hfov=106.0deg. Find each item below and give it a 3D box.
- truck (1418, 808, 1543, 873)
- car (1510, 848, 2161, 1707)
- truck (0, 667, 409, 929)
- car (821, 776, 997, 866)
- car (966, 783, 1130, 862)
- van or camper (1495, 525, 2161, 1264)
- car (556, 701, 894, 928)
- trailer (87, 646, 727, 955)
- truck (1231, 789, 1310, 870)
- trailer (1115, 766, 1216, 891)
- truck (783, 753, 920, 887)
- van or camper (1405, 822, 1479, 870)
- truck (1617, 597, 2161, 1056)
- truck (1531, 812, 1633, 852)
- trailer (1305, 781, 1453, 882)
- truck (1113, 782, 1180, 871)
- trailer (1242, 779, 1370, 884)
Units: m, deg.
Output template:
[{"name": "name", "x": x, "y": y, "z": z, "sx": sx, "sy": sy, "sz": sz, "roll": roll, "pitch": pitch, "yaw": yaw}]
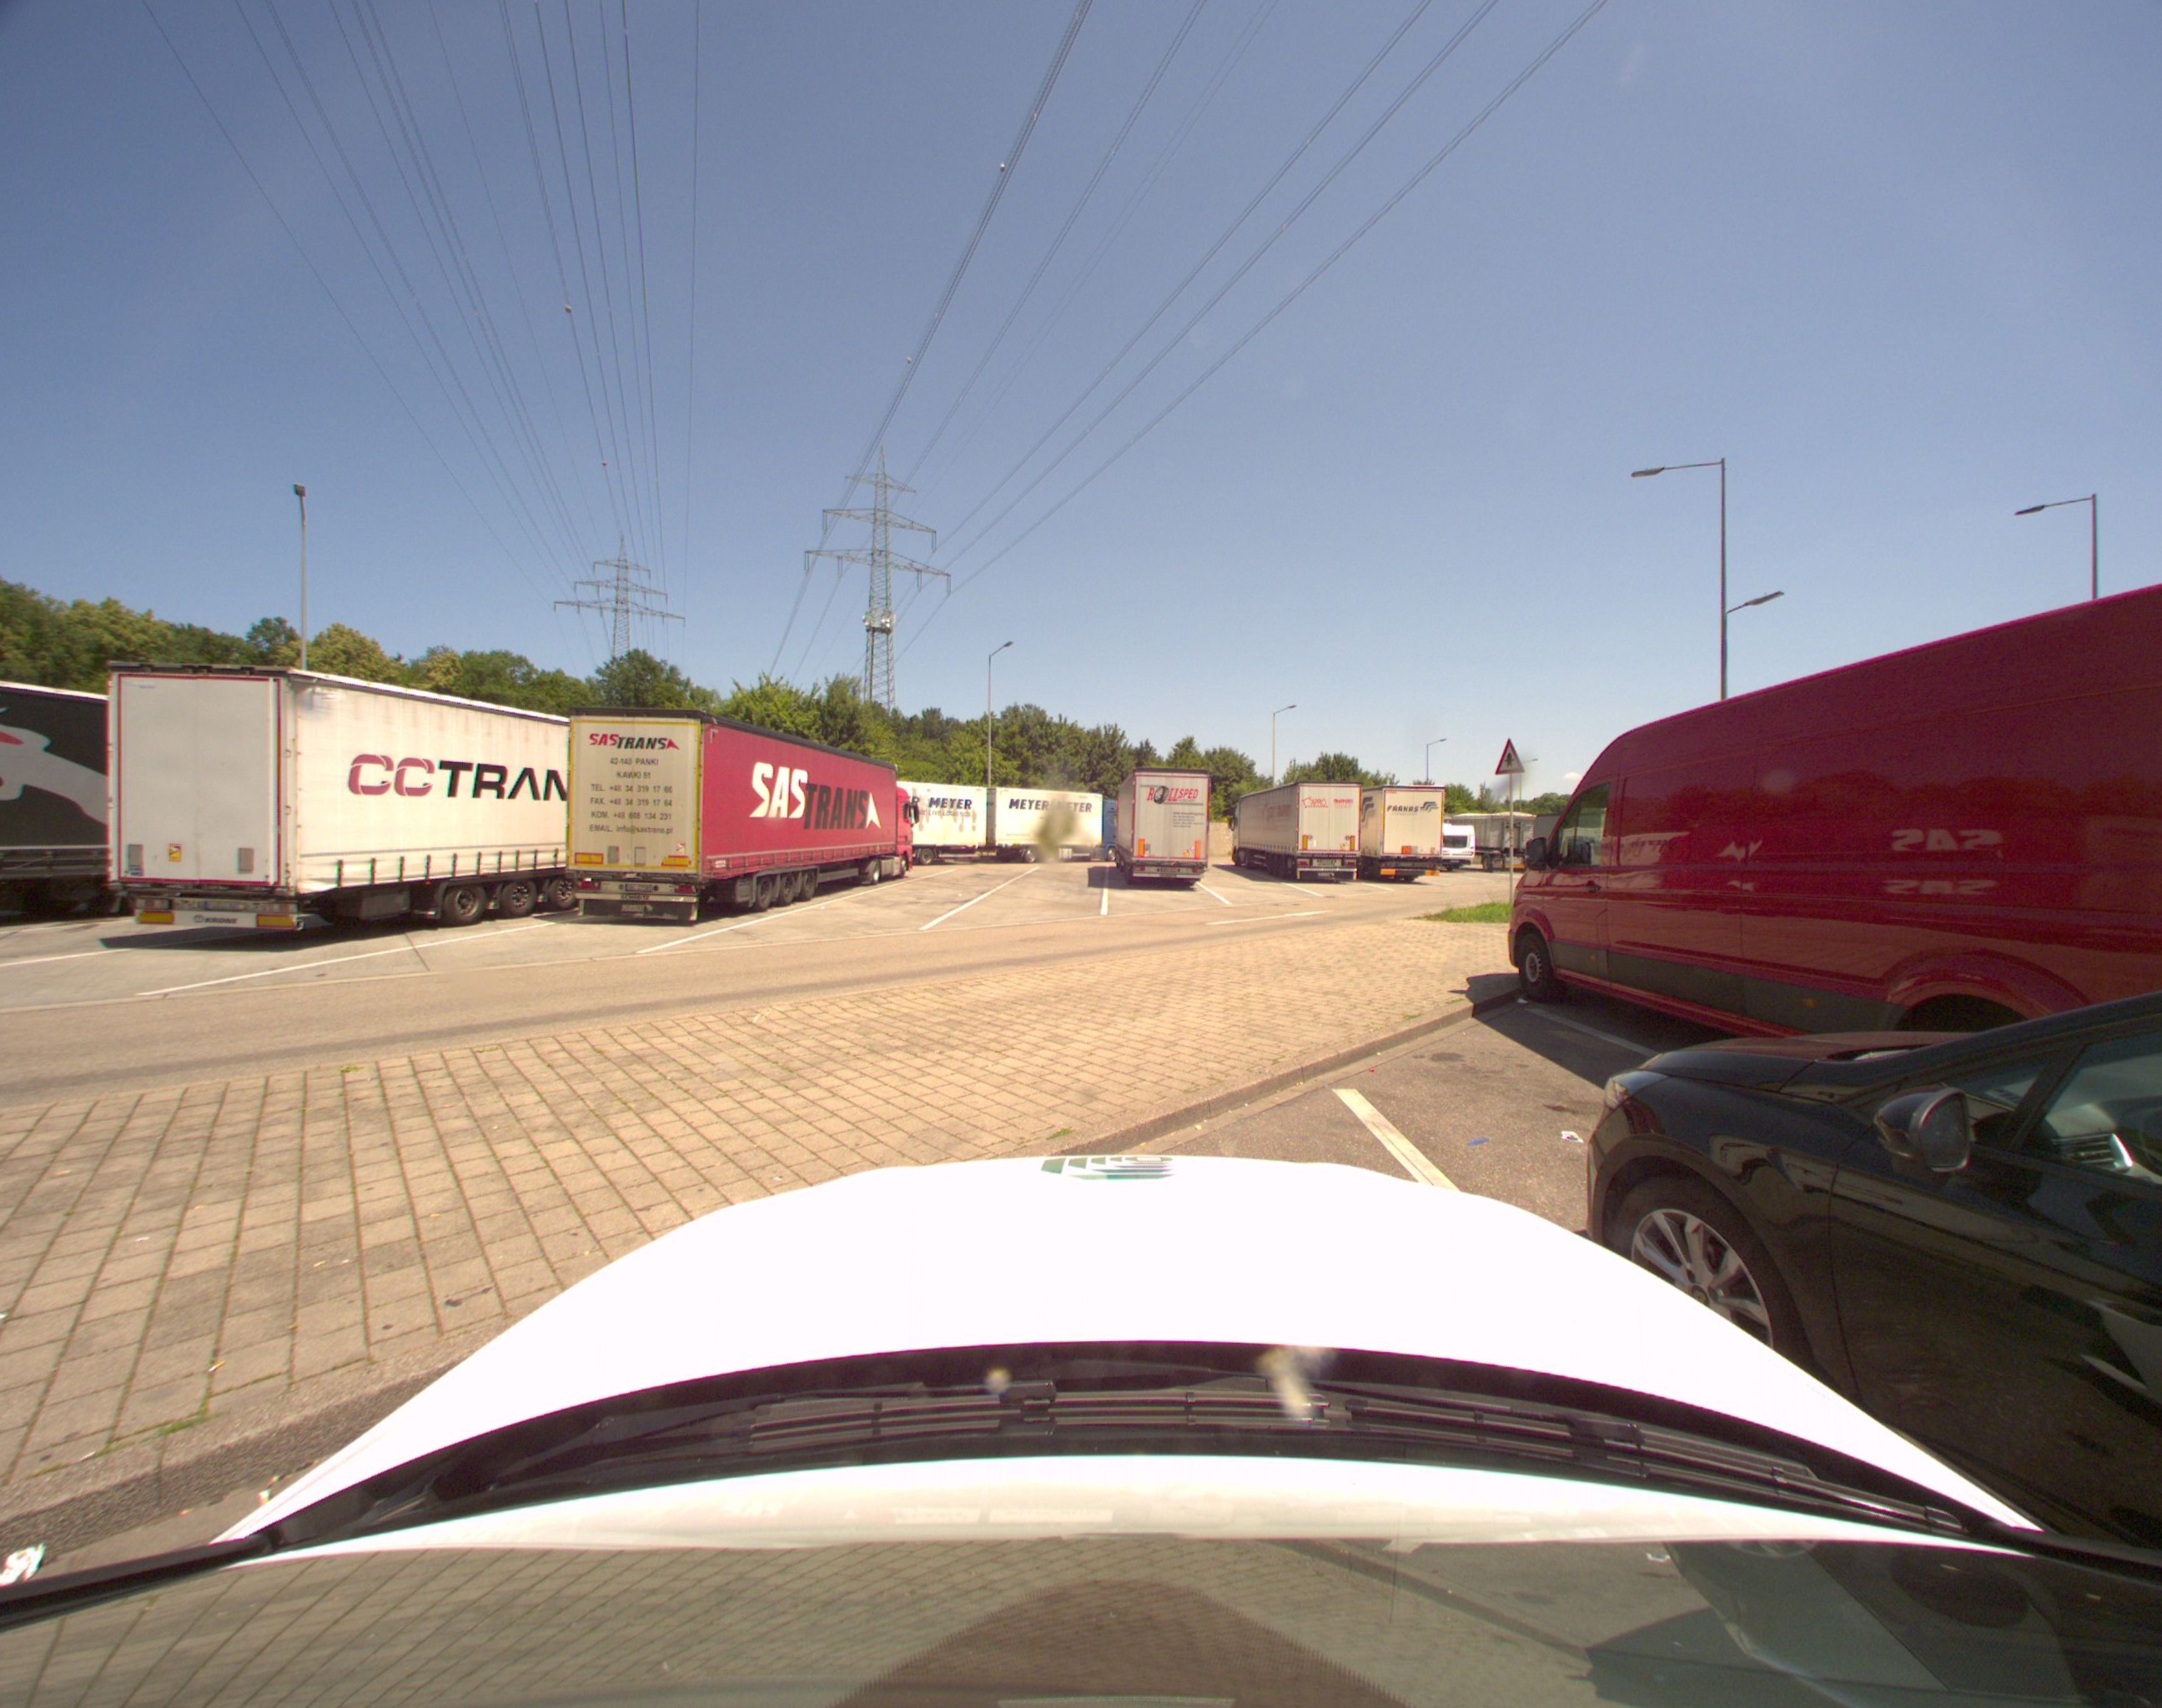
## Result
[{"name": "truck", "x": 24.320, "y": -0.956, "z": 50.480, "sx": 2.478, "sy": 3.568, "sz": 11.429, "roll": 1, "pitch": 2, "yaw": 2}, {"name": "car", "x": 2.466, "y": 0.756, "z": 1.124, "sx": 1.612, "sy": 1.483, "sz": 3.762, "roll": -1, "pitch": 1, "yaw": -4}, {"name": "truck", "x": -18.603, "y": -1.027, "z": 16.256, "sx": 2.803, "sy": 4.190, "sz": 8.793, "roll": 0, "pitch": 2, "yaw": 2}, {"name": "car", "x": -8.408, "y": -1.610, "z": 40.829, "sx": 8.516, "sy": 4.043, "sz": 2.656, "roll": -1, "pitch": 3, "yaw": -44}, {"name": "car", "x": -1.663, "y": -1.786, "z": 47.376, "sx": 10.274, "sy": 4.188, "sz": 2.656, "roll": -1, "pitch": 3, "yaw": -43}, {"name": "van or camper", "x": 5.137, "y": 0.101, "z": 5.477, "sx": 1.986, "sy": 2.654, "sz": 6.490, "roll": -1, "pitch": 1, "yaw": 6}, {"name": "car", "x": -8.034, "y": -0.937, "z": 21.418, "sx": 2.686, "sy": 4.112, "sz": 12.943, "roll": 1, "pitch": 2, "yaw": 2}, {"name": "trailer", "x": -12.148, "y": -0.979, "z": 17.775, "sx": 2.803, "sy": 4.266, "sz": 12.947, "roll": 0, "pitch": 2, "yaw": 2}, {"name": "truck", "x": 10.199, "y": -1.368, "z": 44.516, "sx": 2.856, "sy": 4.037, "sz": 6.960, "roll": 1, "pitch": 2, "yaw": 2}, {"name": "trailer", "x": 3.062, "y": -1.105, "z": 33.712, "sx": 2.857, "sy": 4.037, "sz": 14.244, "roll": 0, "pitch": 2, "yaw": 1}, {"name": "truck", "x": -7.733, "y": -1.156, "z": 28.334, "sx": 2.686, "sy": 4.112, "sz": 6.243, "roll": 1, "pitch": 2, "yaw": 2}, {"name": "van or camper", "x": 20.609, "y": -0.465, "z": 46.721, "sx": 2.096, "sy": 2.561, "sz": 5.376, "roll": -1, "pitch": 1, "yaw": 3}, {"name": "truck", "x": 7.952, "y": -0.210, "z": 7.047, "sx": 2.455, "sy": 2.792, "sz": 6.978, "roll": 0, "pitch": 1, "yaw": 4}, {"name": "truck", "x": 38.055, "y": -1.641, "z": 62.356, "sx": 2.117, "sy": 2.820, "sz": 9.783, "roll": -1, "pitch": 1, "yaw": 2}, {"name": "trailer", "x": 13.659, "y": -1.123, "z": 38.859, "sx": 2.855, "sy": 4.037, "sz": 12.445, "roll": 1, "pitch": 2, "yaw": 2}, {"name": "truck", "x": 3.157, "y": -1.395, "z": 40.800, "sx": 2.857, "sy": 4.037, "sz": 7.029, "roll": 0, "pitch": 2, "yaw": 1}, {"name": "trailer", "x": 9.972, "y": -1.104, "z": 37.884, "sx": 2.855, "sy": 4.037, "sz": 12.445, "roll": 1, "pitch": 2, "yaw": 2}]
